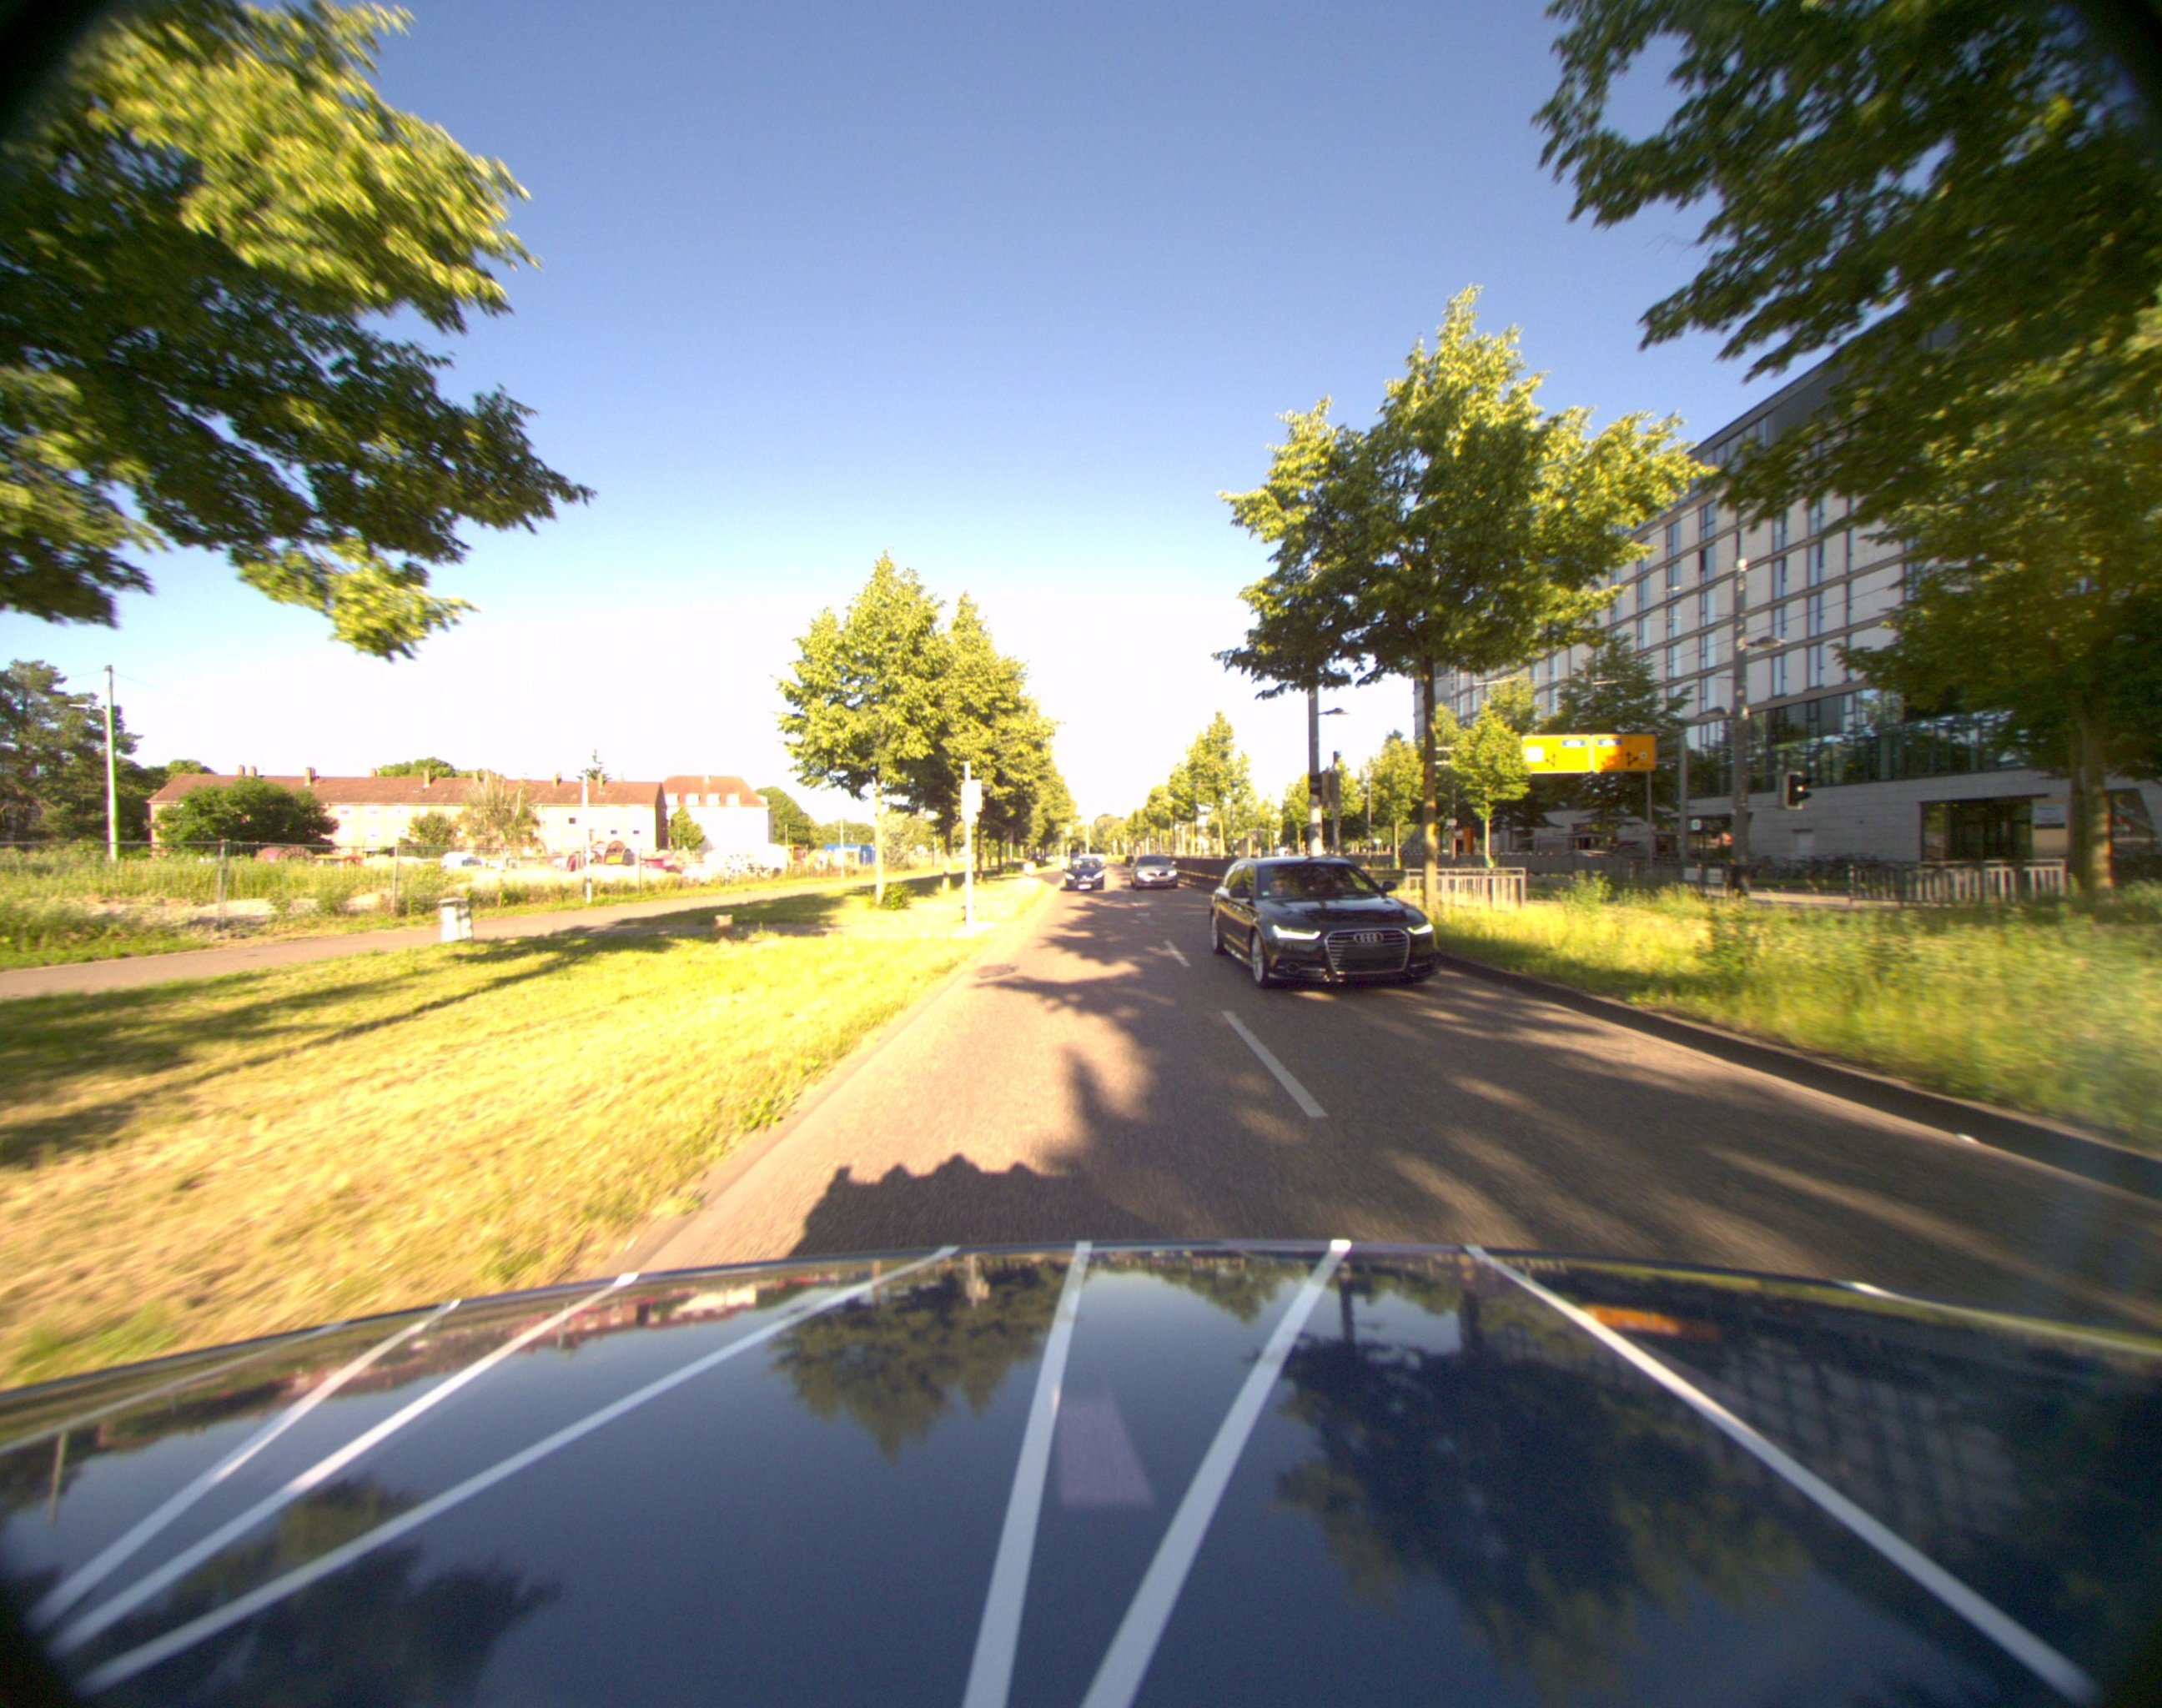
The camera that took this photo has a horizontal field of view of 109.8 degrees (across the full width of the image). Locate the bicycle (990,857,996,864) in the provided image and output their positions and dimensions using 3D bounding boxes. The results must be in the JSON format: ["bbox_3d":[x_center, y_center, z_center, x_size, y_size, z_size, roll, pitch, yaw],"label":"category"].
[{"bbox_3d":[-12.208,0.898,105.186,0.593,0.955,1.900,-1,2,1],"label":"bicycle"}]

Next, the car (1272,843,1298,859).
[{"bbox_3d":[24.239,-0.352,90.448,1.998,1.739,4.227,-1,0,1],"label":"car"}]

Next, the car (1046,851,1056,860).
[{"bbox_3d":[-5.662,0.260,144.500,1.701,1.555,3.676,-1,0,1],"label":"car"}]

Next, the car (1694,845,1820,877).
[{"bbox_3d":[31.707,0.306,35.831,1.963,1.412,4.545,-1,0,1],"label":"car"}]

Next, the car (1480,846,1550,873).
[{"bbox_3d":[25.981,0.281,45.611,1.764,1.396,4.332,-1,2,1],"label":"car"}]

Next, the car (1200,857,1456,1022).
[{"bbox_3d":[2.778,0.848,9.725,1.788,1.518,4.601,-2,0,1],"label":"car"}]

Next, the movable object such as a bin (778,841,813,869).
[{"bbox_3d":[-21.015,0.068,55.983,1.799,2.002,1.789,-1,2,2],"label":"movable object such as a bin"}]

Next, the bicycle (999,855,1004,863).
[{"bbox_3d":[-11.039,0.727,105.122,0.479,1.076,1.643,-1,2,1],"label":"bicycle"}]

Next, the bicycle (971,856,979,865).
[{"bbox_3d":[-13.075,0.777,93.372,0.657,1.006,1.820,-1,0,1],"label":"bicycle"}]

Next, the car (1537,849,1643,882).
[{"bbox_3d":[23.020,0.484,34.577,1.823,1.395,4.509,-1,0,1],"label":"car"}]

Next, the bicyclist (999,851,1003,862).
[{"bbox_3d":[-11.052,0.301,105.085,0.471,1.478,0.915,-1,2,1],"label":"bicyclist"}]

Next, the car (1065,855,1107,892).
[{"bbox_3d":[0.277,0.834,34.638,1.763,1.506,3.948,-1,1,2],"label":"car"}]

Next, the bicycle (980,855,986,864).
[{"bbox_3d":[-12.054,0.677,93.463,0.507,1.145,1.605,0,0,0],"label":"bicycle"}]

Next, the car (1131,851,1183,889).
[{"bbox_3d":[3.257,0.651,33.471,1.849,1.560,4.528,-1,0,1],"label":"car"}]

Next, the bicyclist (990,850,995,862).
[{"bbox_3d":[-12.219,0.312,105.172,0.592,1.578,0.965,-1,2,0],"label":"bicyclist"}]

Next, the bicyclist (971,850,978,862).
[{"bbox_3d":[-13.068,0.229,93.289,0.654,1.544,0.794,-1,1,1],"label":"bicyclist"}]

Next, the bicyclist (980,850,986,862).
[{"bbox_3d":[-12.053,0.262,93.443,0.504,1.464,0.833,-1,1,0],"label":"bicyclist"}]
